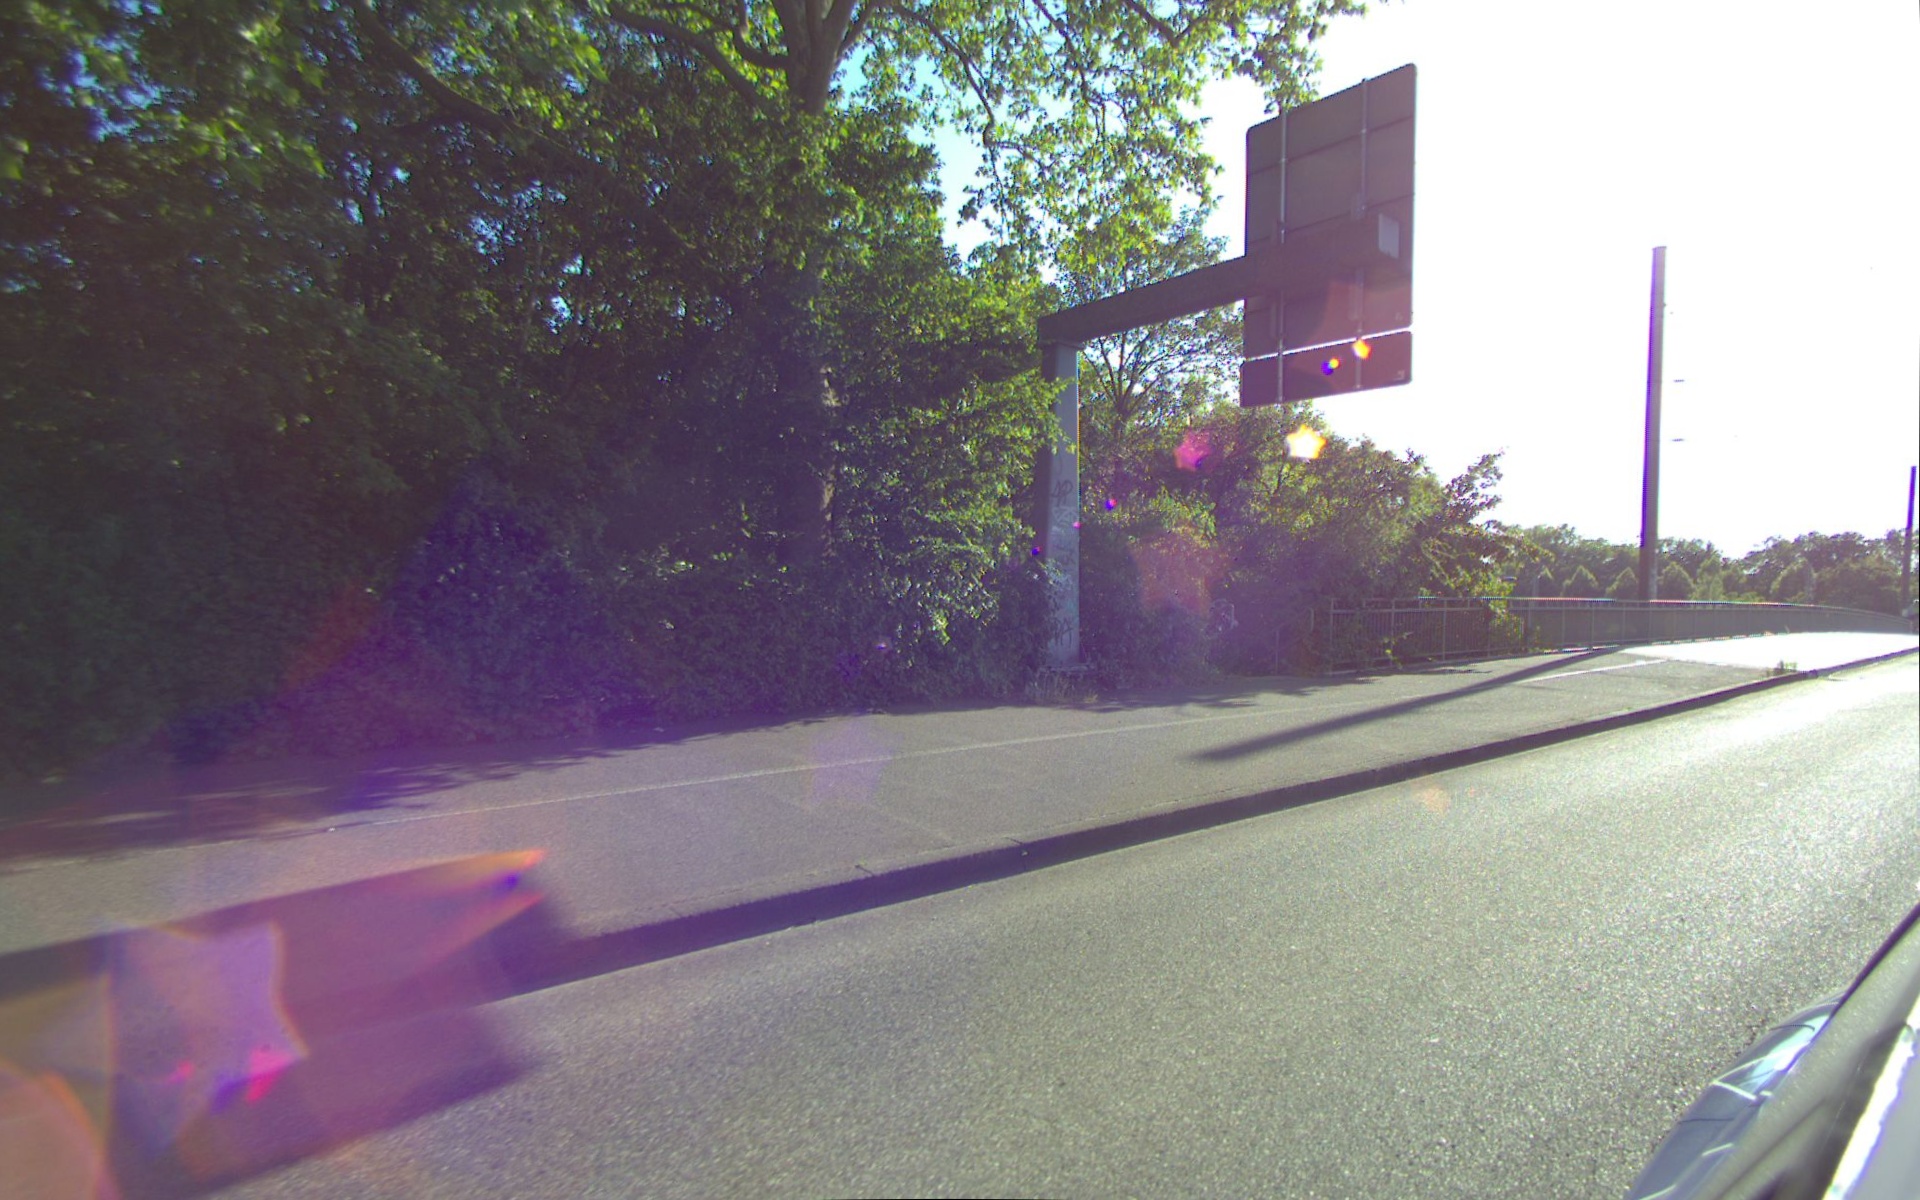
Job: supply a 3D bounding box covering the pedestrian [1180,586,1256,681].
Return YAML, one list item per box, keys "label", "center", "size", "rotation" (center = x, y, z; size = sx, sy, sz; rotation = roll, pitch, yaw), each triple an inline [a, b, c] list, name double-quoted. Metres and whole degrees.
- label: "pedestrian"
  center: [4.037, 0.503, 15.862]
  size: [0.790, 1.413, 0.815]
  rotation: [1, 1, -27]

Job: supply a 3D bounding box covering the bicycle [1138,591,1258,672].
- label: "bicycle"
  center: [3.684, 0.460, 15.843]
  size: [0.614, 1.136, 2.045]
  rotation: [1, 1, -28]
